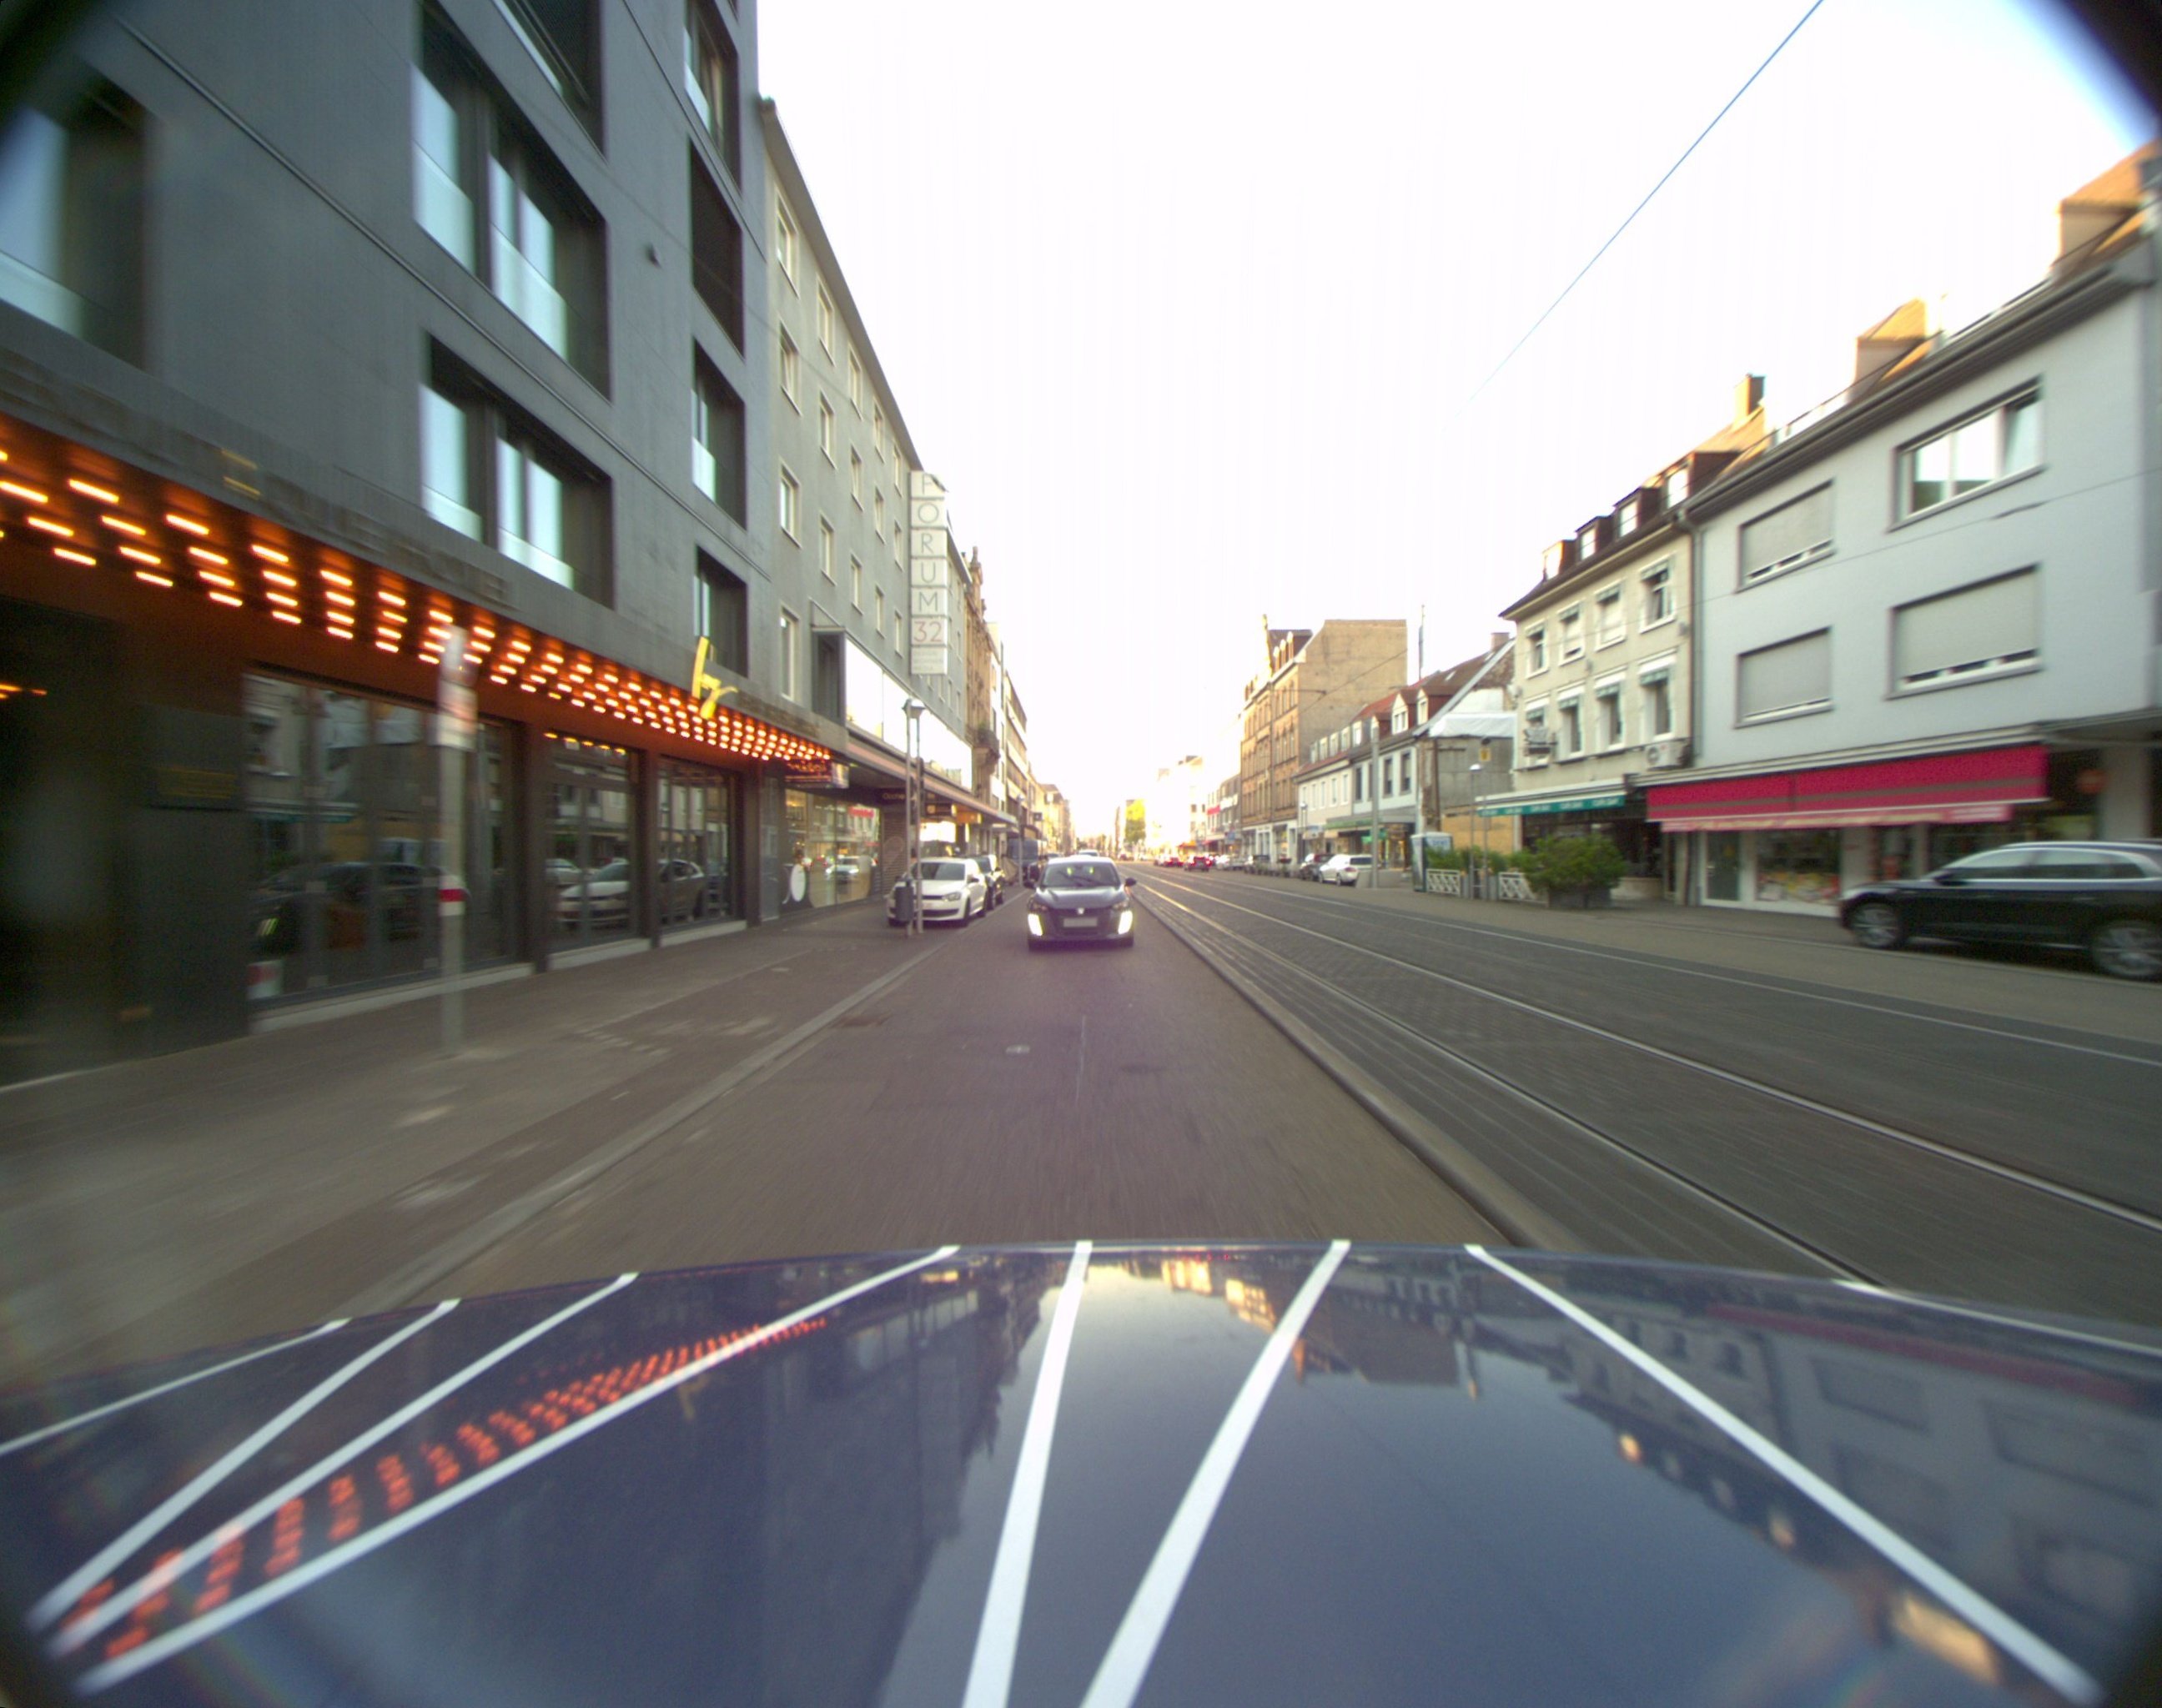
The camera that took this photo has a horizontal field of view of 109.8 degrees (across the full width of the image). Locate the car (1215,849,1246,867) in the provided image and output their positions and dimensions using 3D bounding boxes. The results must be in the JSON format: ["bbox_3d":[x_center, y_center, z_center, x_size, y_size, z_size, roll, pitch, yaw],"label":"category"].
[{"bbox_3d":[13.718,0.349,69.858,1.998,1.543,4.206,0,0,0],"label":"car"}]

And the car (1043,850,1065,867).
[{"bbox_3d":[-2.608,0.396,74.299,1.999,1.627,5.243,0,0,-1],"label":"car"}]

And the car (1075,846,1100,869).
[{"bbox_3d":[0.497,0.266,61.582,1.999,1.805,3.999,0,1,-1],"label":"car"}]

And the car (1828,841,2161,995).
[{"bbox_3d":[13.254,0.716,10.257,1.863,1.711,4.527,-2,0,0],"label":"car"}]

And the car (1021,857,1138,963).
[{"bbox_3d":[-0.040,0.845,13.613,1.732,1.513,4.333,-1,0,-1],"label":"car"}]

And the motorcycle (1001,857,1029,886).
[{"bbox_3d":[-3.198,0.821,36.682,0.574,1.369,1.512,0,1,30],"label":"motorcycle"}]

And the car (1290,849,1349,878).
[{"bbox_3d":[13.270,0.495,42.630,1.914,1.535,4.552,0,0,0],"label":"car"}]

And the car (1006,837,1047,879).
[{"bbox_3d":[-3.137,0.208,44.919,2.046,2.371,5.584,0,0,-1],"label":"car"}]

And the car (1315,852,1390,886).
[{"bbox_3d":[13.218,0.675,37.369,1.998,1.535,4.878,-1,0,1],"label":"car"}]

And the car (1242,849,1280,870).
[{"bbox_3d":[13.664,0.390,57.814,1.998,1.543,4.000,0,0,0],"label":"car"}]

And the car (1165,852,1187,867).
[{"bbox_3d":[10.505,0.615,84.498,1.998,1.543,4.000,0,0,0],"label":"car"}]

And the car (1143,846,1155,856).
[{"bbox_3d":[13.596,-0.572,152.738,1.998,2.024,4.000,0,1,0],"label":"car"}]

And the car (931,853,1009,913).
[{"bbox_3d":[-3.135,0.780,22.258,1.673,1.566,4.034,0,0,0],"label":"car"}]

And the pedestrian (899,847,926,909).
[{"bbox_3d":[-4.801,0.666,21.699,0.610,1.743,0.605,0,1,0],"label":"pedestrian"}]

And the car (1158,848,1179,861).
[{"bbox_3d":[10.531,0.094,91.560,1.998,1.543,4.000,0,0,0],"label":"car"}]

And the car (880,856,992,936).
[{"bbox_3d":[-3.141,0.843,17.152,1.682,1.534,3.886,1,1,1],"label":"car"}]

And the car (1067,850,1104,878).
[{"bbox_3d":[0.239,0.544,42.424,1.998,1.450,3.999,0,1,0],"label":"car"}]

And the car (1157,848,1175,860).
[{"bbox_3d":[11.157,-0.039,99.712,1.998,1.543,4.000,0,0,0],"label":"car"}]

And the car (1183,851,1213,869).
[{"bbox_3d":[10.117,0.480,65.778,1.998,1.543,4.000,0,0,0],"label":"car"}]

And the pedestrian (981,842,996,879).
[{"bbox_3d":[-5.074,0.348,41.516,0.711,2.002,0.824,0,1,0],"label":"pedestrian"}]

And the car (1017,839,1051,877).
[{"bbox_3d":[-3.077,0.223,51.168,1.999,2.390,5.563,0,0,-1],"label":"car"}]

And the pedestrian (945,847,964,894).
[{"bbox_3d":[-4.719,0.616,28.312,0.610,1.743,0.605,0,1,0],"label":"pedestrian"}]
